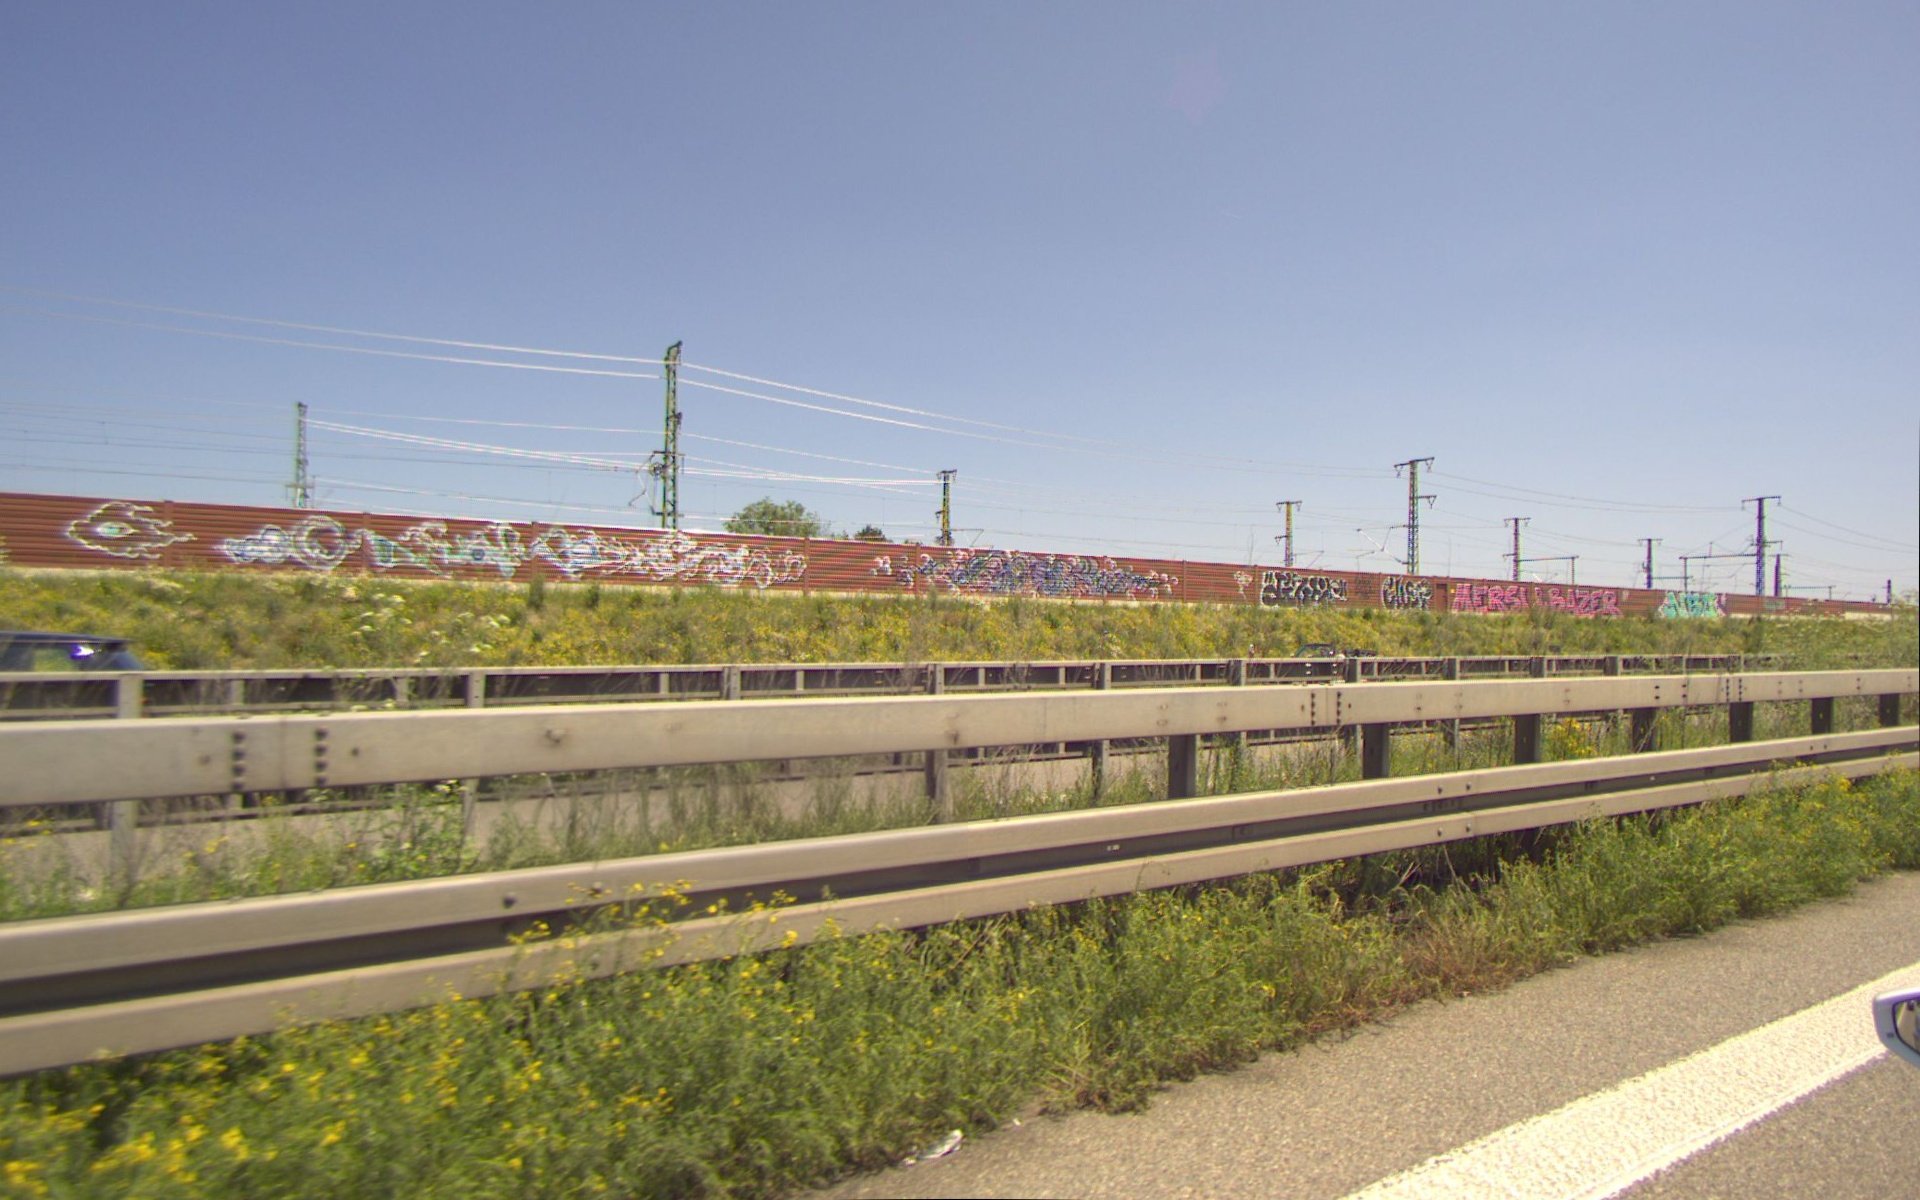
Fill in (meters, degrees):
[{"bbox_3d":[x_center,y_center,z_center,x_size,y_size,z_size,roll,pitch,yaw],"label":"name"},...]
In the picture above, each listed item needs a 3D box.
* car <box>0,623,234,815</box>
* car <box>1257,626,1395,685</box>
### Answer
[{"bbox_3d":[-8.640,0.958,8.526,3.797,1.499,1.808,1,-1,-30],"label":"car"},{"bbox_3d":[10.536,1.574,28.896,3.764,1.565,1.712,1,-1,-30],"label":"car"}]
